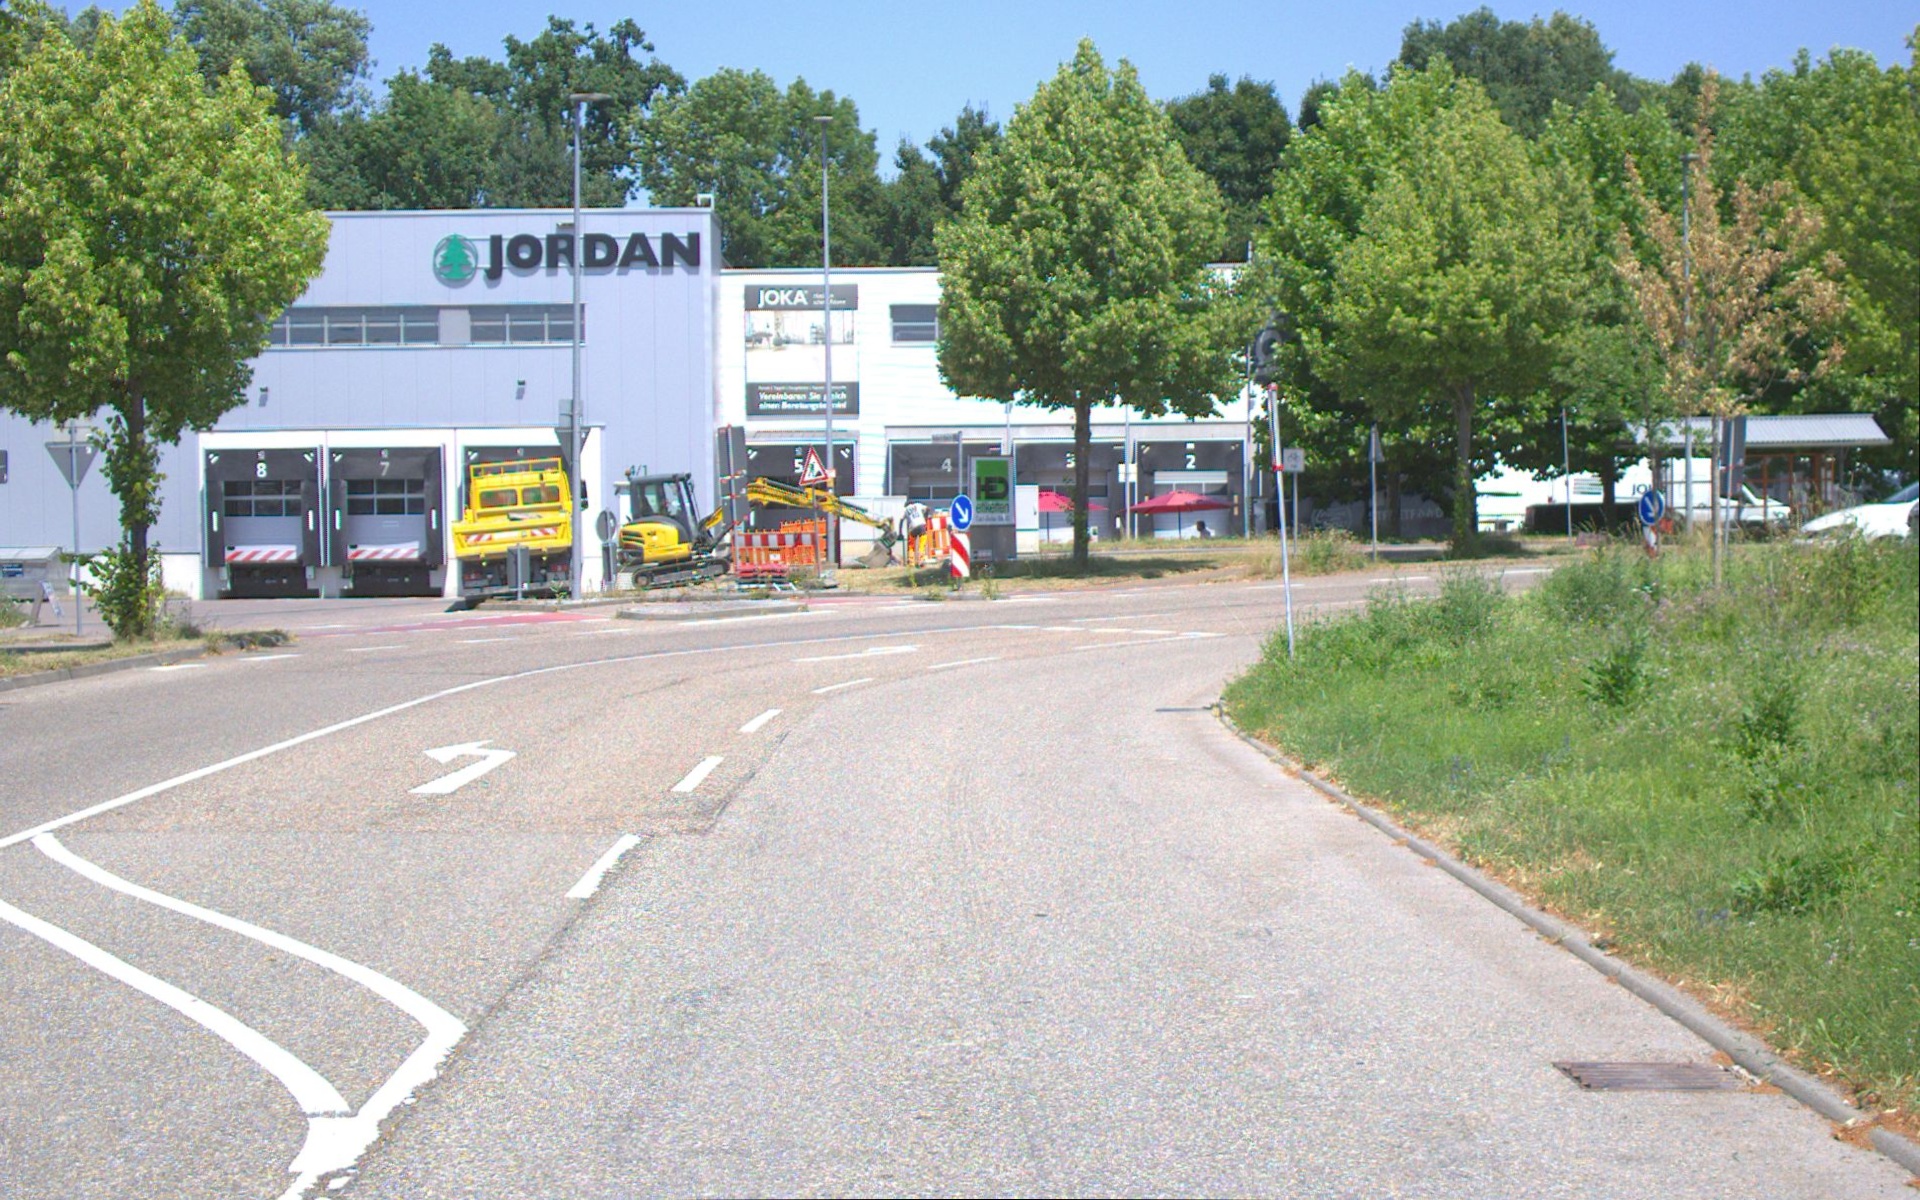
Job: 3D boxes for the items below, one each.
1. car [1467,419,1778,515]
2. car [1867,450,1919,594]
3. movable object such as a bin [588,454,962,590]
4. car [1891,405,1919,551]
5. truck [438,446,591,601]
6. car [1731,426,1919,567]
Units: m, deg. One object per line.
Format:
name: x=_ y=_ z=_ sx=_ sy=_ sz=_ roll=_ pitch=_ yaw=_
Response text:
car: x=16.065 y=-3.216 z=83.616 sx=7.172 sy=2.080 sz=2.000 roll=-2 pitch=1 yaw=2
car: x=11.938 y=-0.909 z=36.378 sx=4.162 sy=1.395 sz=1.769 roll=-3 pitch=5 yaw=-4
movable object such as a bin: x=-3.955 y=-1.726 z=74.971 sx=7.528 sy=2.491 sz=3.666 roll=-2 pitch=5 yaw=7
car: x=11.491 y=-1.258 z=33.747 sx=4.162 sy=1.395 sz=1.769 roll=-3 pitch=5 yaw=-4
truck: x=-9.718 y=-1.725 z=74.573 sx=2.938 sy=2.875 sz=5.812 roll=-3 pitch=5 yaw=-9
car: x=11.003 y=-1.228 z=38.734 sx=4.162 sy=1.395 sz=1.769 roll=-3 pitch=5 yaw=-4
